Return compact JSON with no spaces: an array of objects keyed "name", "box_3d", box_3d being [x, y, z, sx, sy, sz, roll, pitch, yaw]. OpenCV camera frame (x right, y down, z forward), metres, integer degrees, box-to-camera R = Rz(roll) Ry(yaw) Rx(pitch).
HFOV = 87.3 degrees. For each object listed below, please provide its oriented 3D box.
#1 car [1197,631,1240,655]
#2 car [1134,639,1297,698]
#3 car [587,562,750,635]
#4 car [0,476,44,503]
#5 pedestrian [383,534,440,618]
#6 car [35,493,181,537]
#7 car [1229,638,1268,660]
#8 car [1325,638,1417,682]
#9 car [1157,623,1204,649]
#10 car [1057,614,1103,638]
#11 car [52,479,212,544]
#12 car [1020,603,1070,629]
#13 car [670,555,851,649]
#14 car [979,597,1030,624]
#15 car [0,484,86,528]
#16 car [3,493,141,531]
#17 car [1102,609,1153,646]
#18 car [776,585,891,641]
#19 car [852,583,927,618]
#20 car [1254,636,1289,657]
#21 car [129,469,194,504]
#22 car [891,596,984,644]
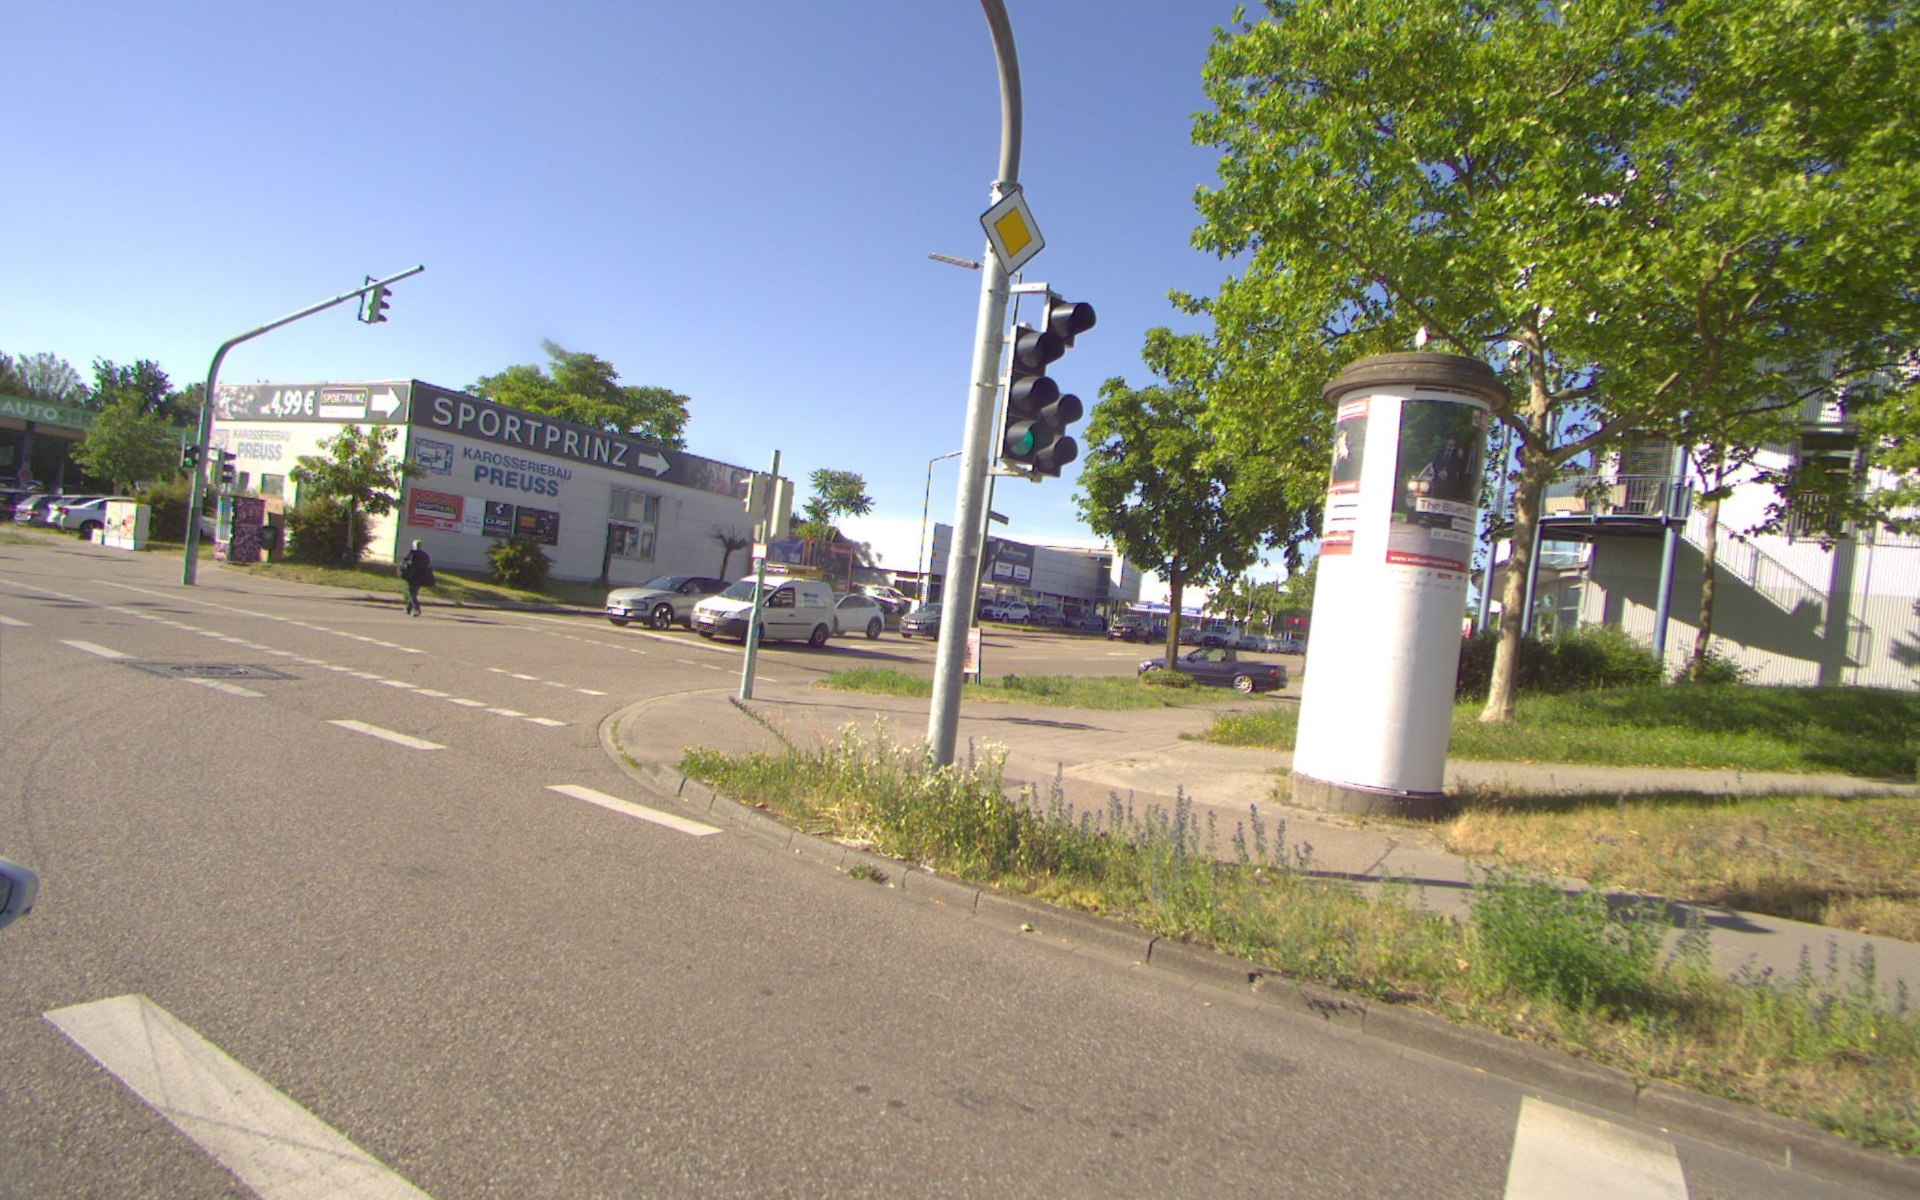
[{"name":"car","box_3d":[21.823,3.652,84.864,1.970,1.618,3.987,7,-1,37]},{"name":"car","box_3d":[7.504,2.007,29.667,4.288,1.137,1.720,6,-1,30]},{"name":"car","box_3d":[-8.035,-0.001,28.066,1.871,1.665,4.094,5,-1,32]},{"name":"car","box_3d":[-66.078,-7.728,69.309,1.706,1.551,4.038,6,1,32]},{"name":"pedestrian","box_3d":[-12.051,-0.517,22.098,0.607,1.737,0.758,7,1,31]},{"name":"car","box_3d":[-31.417,-3.120,37.155,1.701,1.474,3.902,7,7,42]},{"name":"car","box_3d":[26.345,4.445,91.810,1.970,1.618,3.987,7,-1,37]},{"name":"car","box_3d":[22.476,3.286,55.066,4.289,1.858,1.719,6,-1,31]},{"name":"car","box_3d":[17.178,2.780,78.139,1.970,1.663,3.986,6,0,37]},{"name":"car","box_3d":[9.335,2.038,78.330,1.754,1.379,3.991,6,-2,36]},{"name":"car","box_3d":[-28.723,-3.077,35.074,3.945,2.044,1.673,0,7,-27]},{"name":"car","box_3d":[6.290,1.218,73.910,1.754,1.379,3.991,6,-2,36]},{"name":"car","box_3d":[-5.115,0.119,26.492,1.841,1.957,4.687,6,-1,32]},{"name":"car","box_3d":[3.117,0.757,69.990,1.778,1.401,3.924,6,-1,32]},{"name":"car","box_3d":[-37.873,-3.807,40.651,1.870,1.551,4.817,5,2,-15]},{"name":"car","box_3d":[-34.118,-3.377,38.737,1.811,1.310,3.600,6,6,32]},{"name":"car","box_3d":[11.406,1.899,68.225,1.710,1.991,3.992,6,-2,34]},{"name":"car","box_3d":[-4.294,0.473,34.610,1.778,1.609,3.922,5,-1,32]},{"name":"car","box_3d":[-4.091,0.019,58.366,3.934,1.503,1.779,6,-2,32]},{"name":"car","box_3d":[30.139,4.505,97.255,1.970,1.619,3.986,6,0,37]},{"name":"car","box_3d":[-49.507,-7.021,62.363,3.716,1.777,1.920,6,0,32]},{"name":"car","box_3d":[-0.857,0.819,40.443,1.778,1.609,3.922,5,-1,32]}]
